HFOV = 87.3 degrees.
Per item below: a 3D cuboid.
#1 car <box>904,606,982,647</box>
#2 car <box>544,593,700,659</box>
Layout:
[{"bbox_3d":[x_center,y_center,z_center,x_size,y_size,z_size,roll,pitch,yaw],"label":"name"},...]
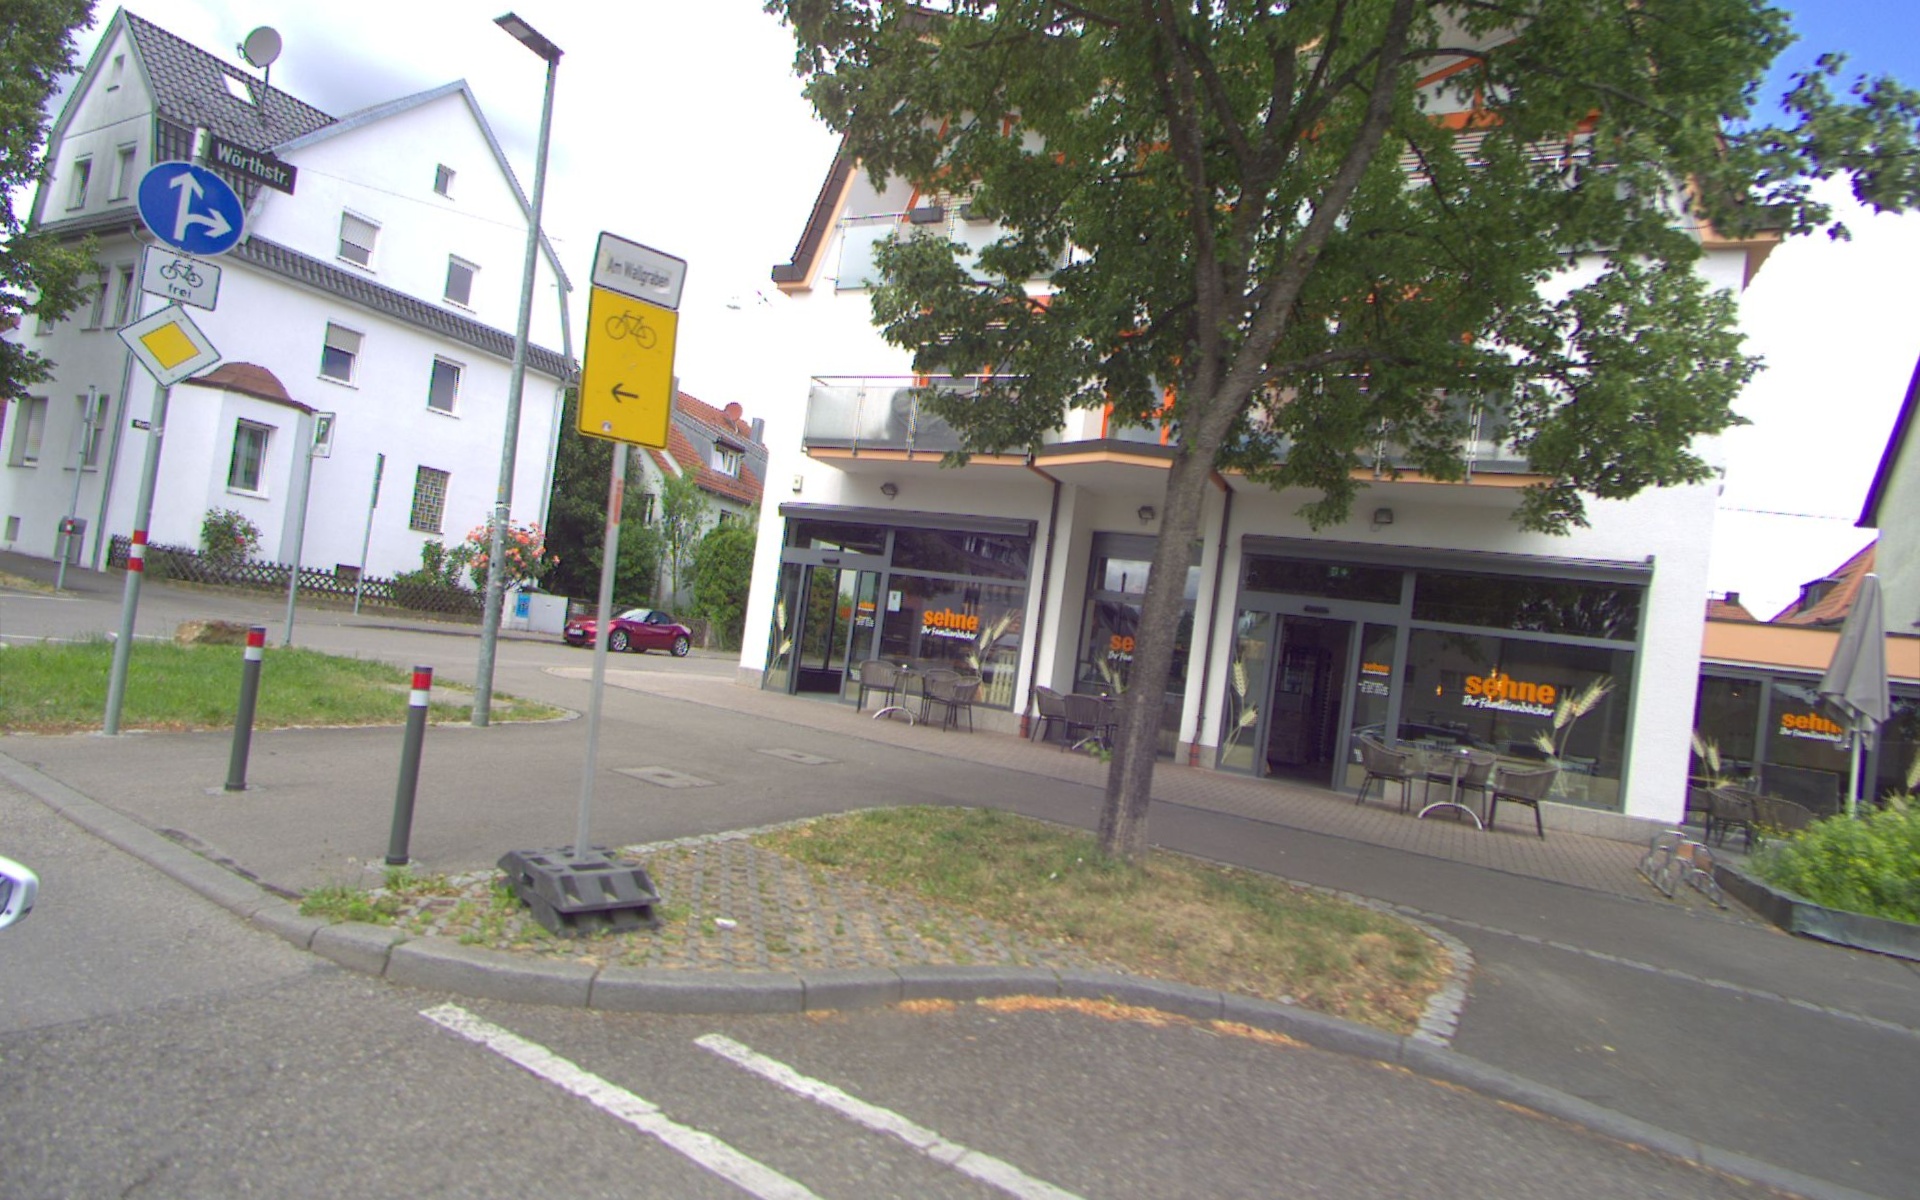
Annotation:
[{"bbox_3d":[-0.688,1.158,43.107,1.631,1.321,3.694,7,-2,29],"label":"car"},{"bbox_3d":[-9.027,0.747,27.152,1.716,1.244,3.709,7,-3,28],"label":"car"}]
